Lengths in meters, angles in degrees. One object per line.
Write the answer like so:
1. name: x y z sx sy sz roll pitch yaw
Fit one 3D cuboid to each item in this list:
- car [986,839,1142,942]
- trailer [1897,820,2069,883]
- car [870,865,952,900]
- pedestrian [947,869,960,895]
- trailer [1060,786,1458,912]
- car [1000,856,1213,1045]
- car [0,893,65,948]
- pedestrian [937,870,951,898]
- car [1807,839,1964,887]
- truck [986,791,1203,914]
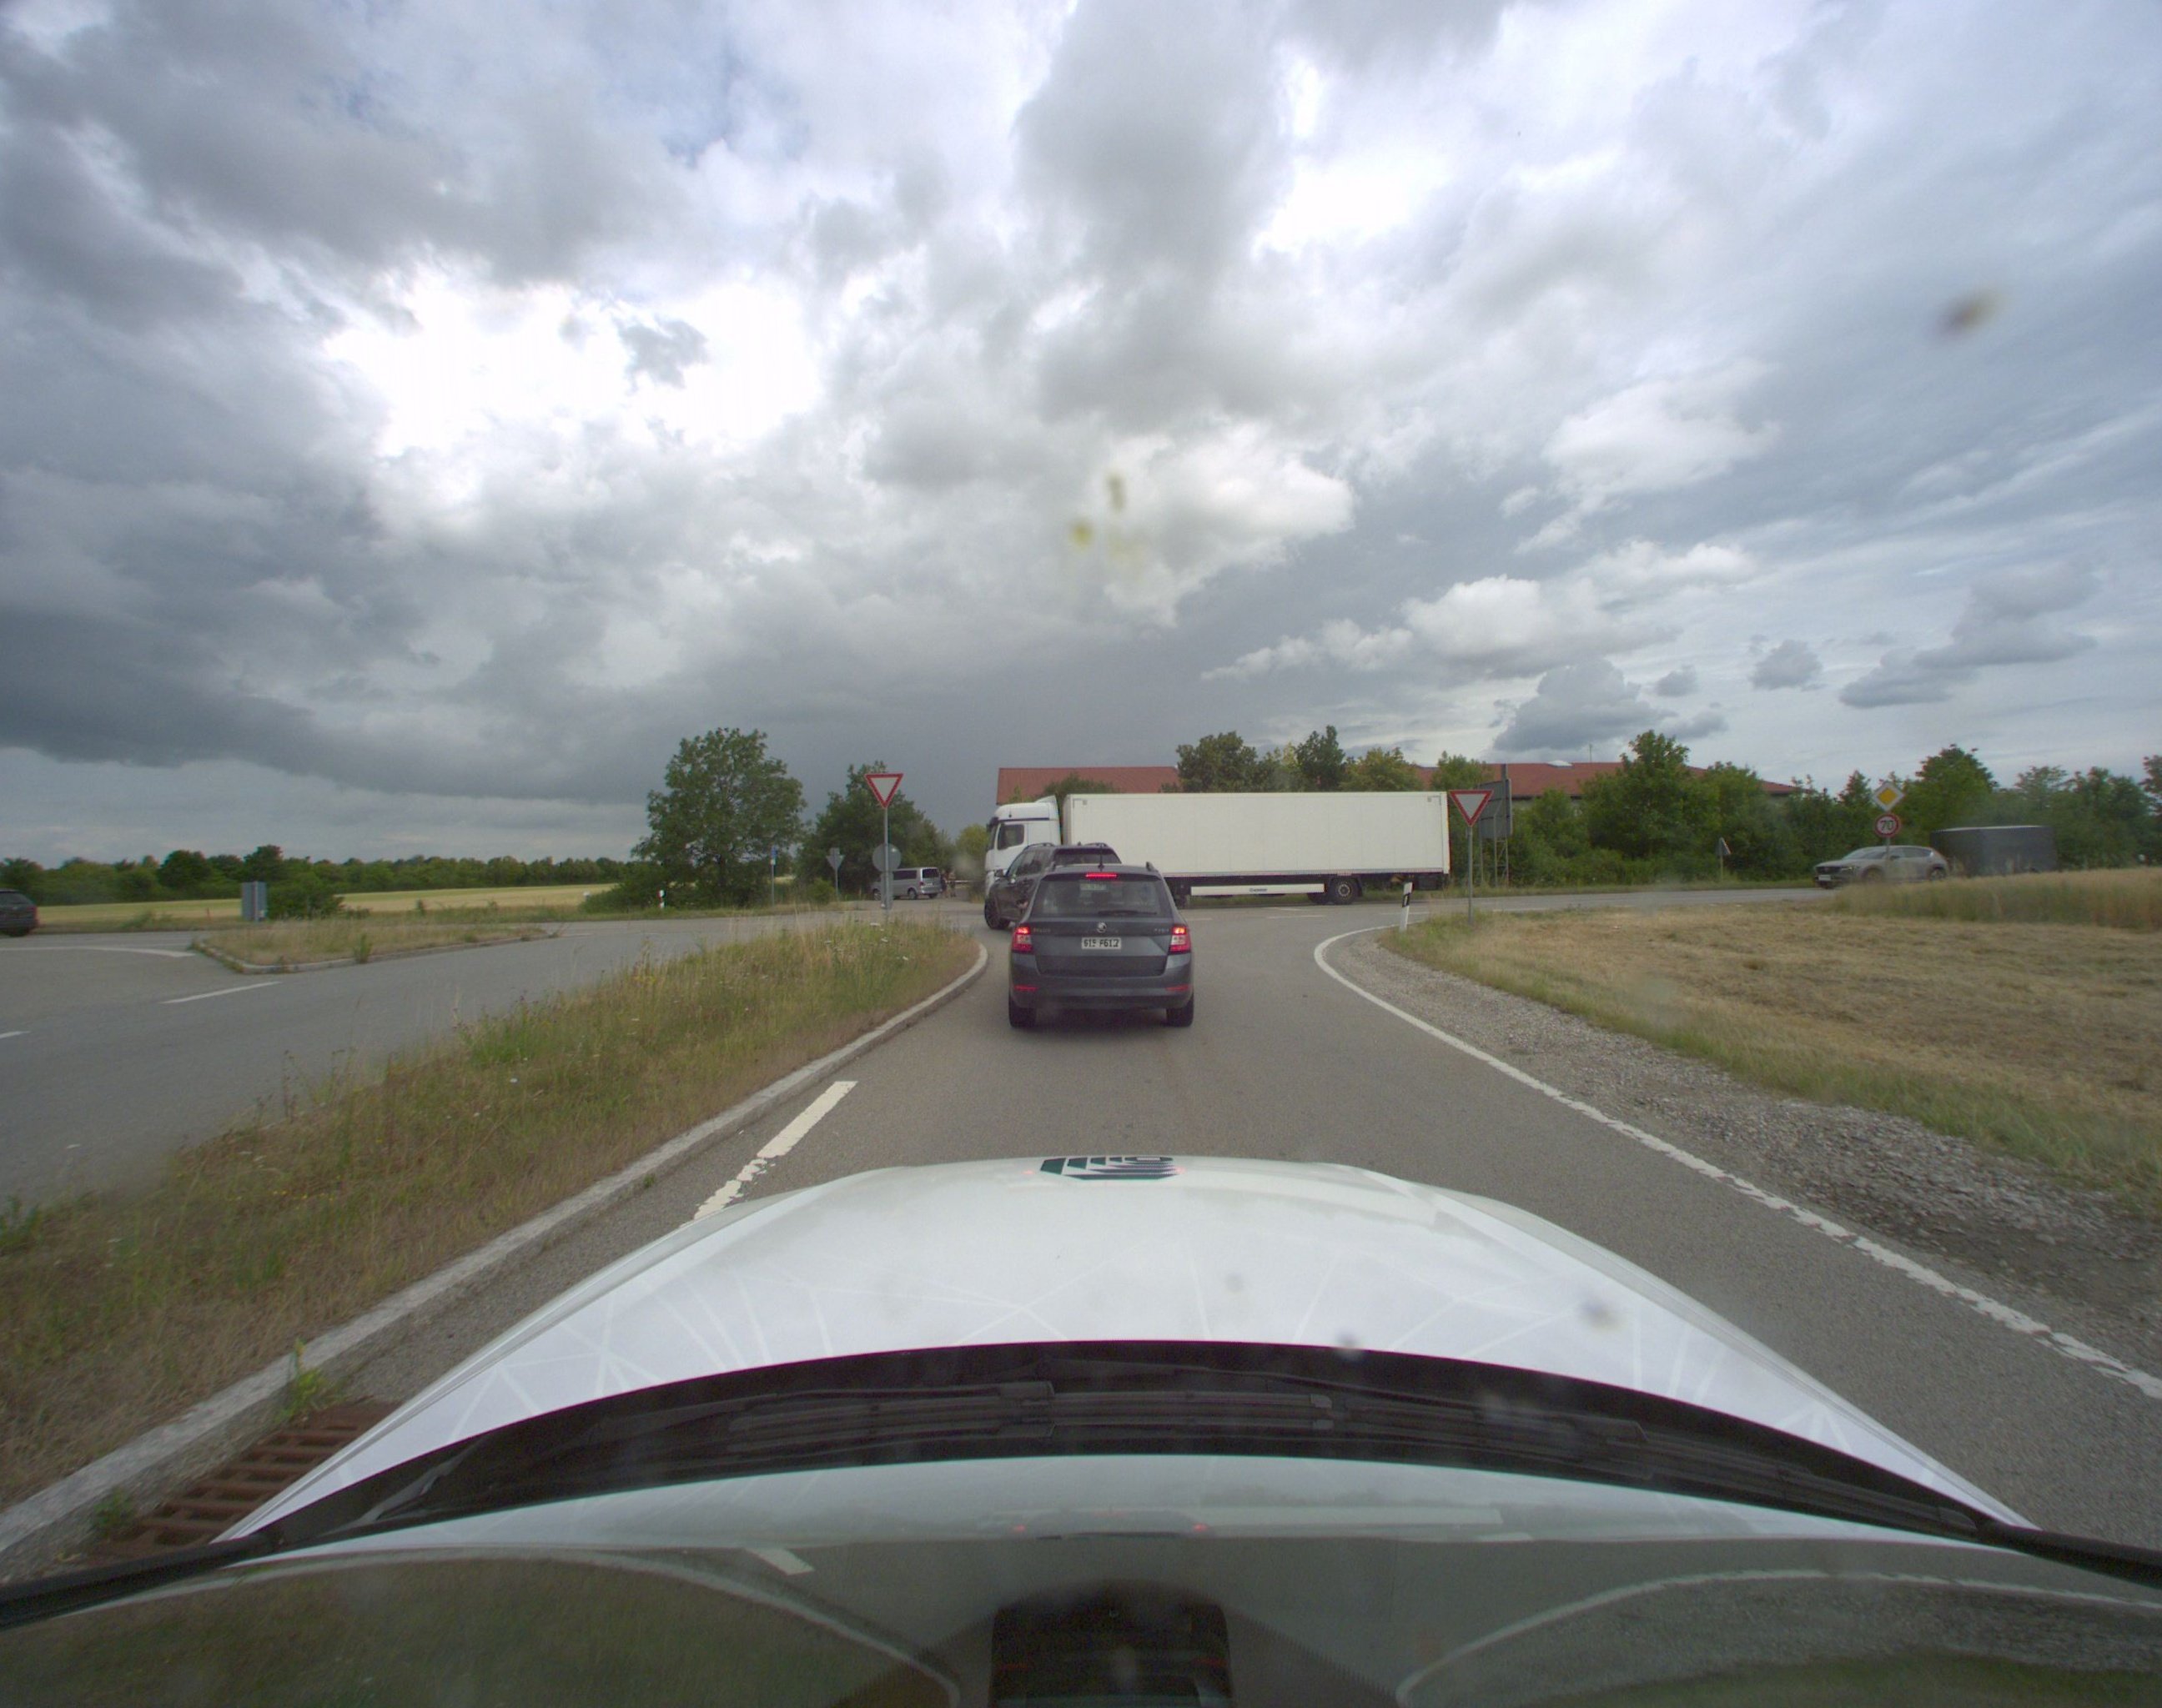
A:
1. car: -0.538 0.694 16.675 1.998 1.774 4.616 -1 -1 -17
2. trailer: 35.575 -0.062 32.207 4.377 2.293 2.411 -2 -2 -7
3. car: -10.804 1.802 51.730 4.851 2.013 2.357 -2 0 34
4. pedestrian: -8.299 1.805 52.899 0.559 1.682 0.588 -2 0 25
5. trailer: 6.260 -0.176 29.700 13.821 4.015 3.122 -1 -2 -6
6. car: 0.184 0.766 8.290 1.671 1.462 3.706 0 0 -1
7. car: -35.357 2.173 25.543 4.201 1.601 1.998 -3 0 -4
8. pedestrian: -8.611 1.882 51.333 0.523 1.726 0.646 -2 0 33
9. car: 31.151 0.363 31.599 4.461 1.682 1.994 -2 -2 -8
10. truck: 0.357 -0.031 29.093 7.273 4.015 3.122 -1 -2 -6
